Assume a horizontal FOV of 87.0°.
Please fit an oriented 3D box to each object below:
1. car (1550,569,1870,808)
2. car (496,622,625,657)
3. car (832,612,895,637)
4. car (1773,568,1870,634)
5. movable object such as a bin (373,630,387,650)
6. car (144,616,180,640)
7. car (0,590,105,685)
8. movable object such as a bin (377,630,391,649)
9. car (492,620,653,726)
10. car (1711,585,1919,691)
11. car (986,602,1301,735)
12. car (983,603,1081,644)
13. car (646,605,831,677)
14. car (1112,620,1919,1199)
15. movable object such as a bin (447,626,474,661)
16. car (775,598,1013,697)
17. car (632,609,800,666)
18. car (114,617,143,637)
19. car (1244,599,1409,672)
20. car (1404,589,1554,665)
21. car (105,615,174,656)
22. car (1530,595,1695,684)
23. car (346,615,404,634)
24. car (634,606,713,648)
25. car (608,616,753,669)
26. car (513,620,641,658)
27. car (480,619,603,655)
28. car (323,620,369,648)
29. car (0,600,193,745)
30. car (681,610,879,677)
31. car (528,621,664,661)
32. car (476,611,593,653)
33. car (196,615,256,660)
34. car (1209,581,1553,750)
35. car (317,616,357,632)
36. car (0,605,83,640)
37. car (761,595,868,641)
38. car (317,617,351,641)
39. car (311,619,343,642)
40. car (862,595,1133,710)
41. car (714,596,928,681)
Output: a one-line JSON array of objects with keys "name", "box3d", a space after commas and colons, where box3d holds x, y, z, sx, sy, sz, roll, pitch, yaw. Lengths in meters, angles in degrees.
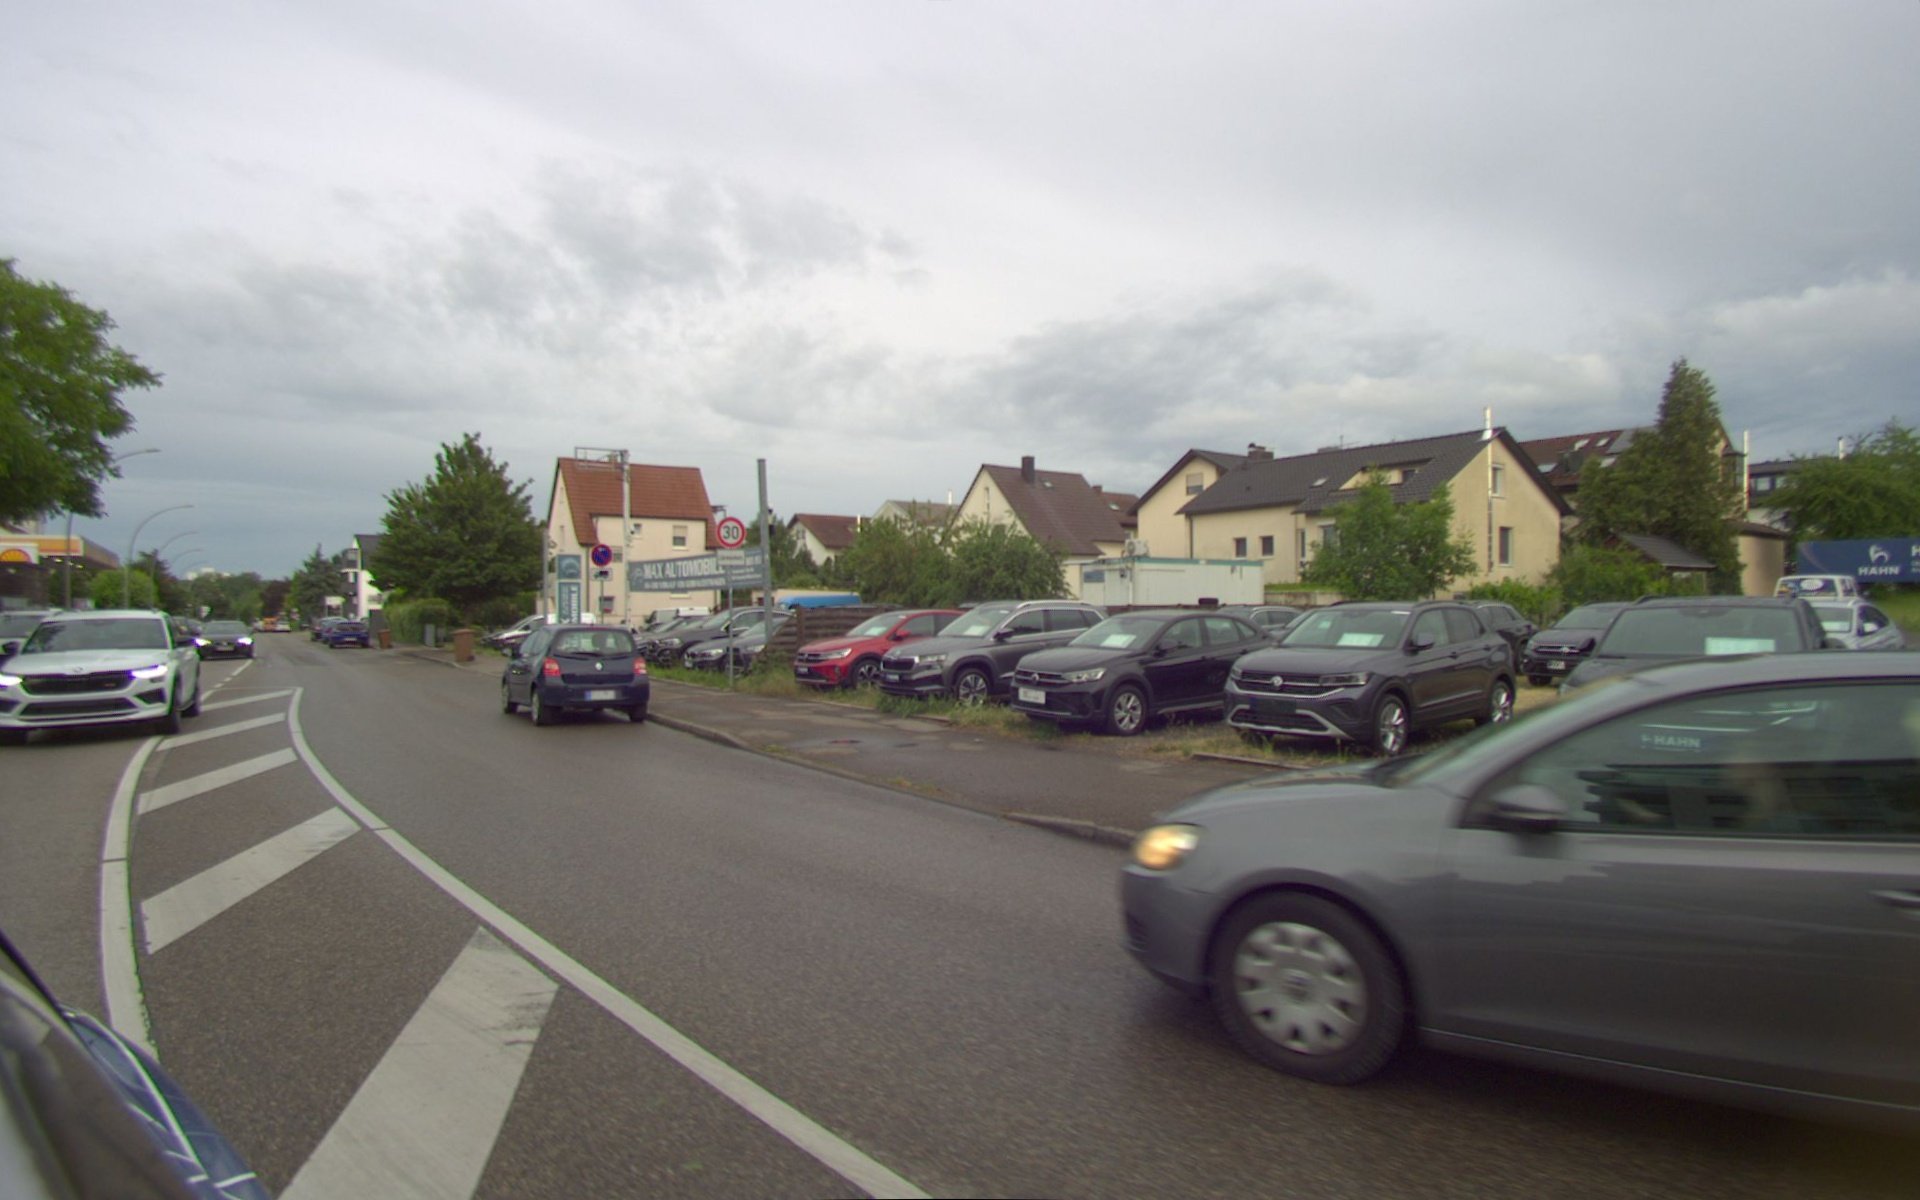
[{"name": "car", "box3d": [6.443, 0.569, 8.518, 1.623, 1.542, 3.902, -3, -1, 44]}, {"name": "car", "box3d": [-16.076, 1.552, 40.813, 4.497, 1.319, 1.893, 0, -1, -36]}, {"name": "car", "box3d": [-5.293, 1.321, 55.647, 3.181, 1.343, 1.341, 0, -1, -38]}, {"name": "car", "box3d": [27.860, 0.021, 32.685, 4.129, 1.989, 1.725, -1, -1, -41]}, {"name": "movable object such as a bin", "box3d": [-28.944, 1.999, 50.494, 0.533, 0.917, 0.507, -3, 1, -37]}, {"name": "car", "box3d": [-50.208, 1.750, 63.754, 1.634, 1.412, 3.810, 0, -1, -36]}, {"name": "car", "box3d": [-21.998, 0.894, 24.209, 1.754, 2.044, 4.766, -1, -1, -33]}, {"name": "movable object such as a bin", "box3d": [-28.556, 1.943, 50.191, 0.533, 0.917, 0.425, -3, 1, -37]}, {"name": "car", "box3d": [-6.207, 1.044, 15.984, 1.604, 1.444, 3.693, 0, -1, -34]}, {"name": "car", "box3d": [13.407, 0.614, 15.759, 3.710, 1.475, 1.595, 2, -3, -34]}, {"name": "car", "box3d": [2.487, 0.808, 13.445, 3.933, 1.452, 1.808, -1, -1, -33]}, {"name": "car", "box3d": [2.982, 0.945, 41.681, 3.684, 1.583, 1.792, 0, -1, -34]}, {"name": "car", "box3d": [-5.798, 1.019, 26.604, 4.289, 1.704, 2.064, 0, -1, -35]}, {"name": "car", "box3d": [2.691, 0.831, 3.327, 3.982, 1.467, 1.712, -3, -4, 29]}, {"name": "movable object such as a bin", "box3d": [-16.857, 1.470, 34.133, 0.698, 1.138, 0.737, -1, -1, -35]}, {"name": "car", "box3d": [-1.162, 0.798, 18.499, 3.933, 1.555, 1.808, -1, -1, -33]}, {"name": "car", "box3d": [-6.980, 1.037, 29.082, 4.289, 1.475, 1.946, 0, -1, -35]}, {"name": "car", "box3d": [-73.443, 2.386, 89.397, 1.968, 1.696, 4.006, 0, -2, -40]}, {"name": "car", "box3d": [8.248, 0.763, 22.708, 3.583, 1.439, 1.596, -2, -1, -33]}, {"name": "car", "box3d": [11.084, 0.549, 21.532, 3.588, 1.439, 1.594, -1, -1, -41]}, {"name": "car", "box3d": [-37.137, 1.597, 45.909, 2.063, 1.674, 4.570, -2, -1, -35]}, {"name": "car", "box3d": [11.762, 0.657, 18.172, 3.588, 1.385, 1.520, -1, -1, -41]}, {"name": "car", "box3d": [-49.604, 2.095, 85.851, 4.032, 1.525, 1.886, 0, -2, -40]}, {"name": "car", "box3d": [-14.205, 1.333, 50.010, 1.968, 1.945, 5.064, 1, -2, -38]}, {"name": "car", "box3d": [-8.560, 1.257, 31.090, 3.933, 1.475, 1.844, 0, -1, -35]}, {"name": "car", "box3d": [-14.813, 1.469, 39.212, 4.318, 1.384, 1.893, 0, -1, -36]}, {"name": "car", "box3d": [-17.724, 1.532, 42.976, 4.500, 1.429, 1.901, 0, -1, -40]}, {"name": "car", "box3d": [-32.724, 1.782, 53.892, 1.783, 1.414, 3.954, 2, -2, -35]}, {"name": "car", "box3d": [-11.957, 0.907, 14.117, 1.854, 1.673, 4.842, 1, -2, -36]}, {"name": "car", "box3d": [-4.305, 0.984, 24.447, 4.289, 1.442, 1.964, 0, -1, -35]}, {"name": "car", "box3d": [-13.294, 1.455, 37.056, 4.392, 1.342, 1.775, 0, -1, -36]}, {"name": "car", "box3d": [-19.013, 1.387, 45.311, 4.500, 1.804, 1.901, 0, -1, -40]}, {"name": "car", "box3d": [-28.253, 1.427, 38.904, 1.750, 1.573, 4.008, -1, -1, -37]}, {"name": "car", "box3d": [4.785, 0.622, 11.328, 3.894, 1.542, 1.695, -2, -1, -35]}, {"name": "car", "box3d": [-77.096, 2.953, 125.262, 3.936, 1.659, 2.004, -5, 1, -38]}, {"name": "car", "box3d": [-71.008, 1.724, 78.011, 2.240, 2.540, 4.751, -2, -1, 32]}, {"name": "car", "box3d": [-8.068, 0.961, 56.538, 5.595, 2.392, 2.052, -1, -1, -36]}, {"name": "car", "box3d": [-38.753, 1.805, 62.631, 1.525, 1.414, 3.606, 2, -2, -35]}, {"name": "car", "box3d": [-42.964, 2.060, 68.616, 1.587, 1.518, 3.716, 2, -2, -35]}, {"name": "car", "box3d": [0.633, 0.753, 16.028, 3.933, 1.555, 1.808, -1, -1, -33]}, {"name": "car", "box3d": [-3.041, 0.796, 22.446, 4.289, 1.703, 1.964, 0, -1, -35]}]
